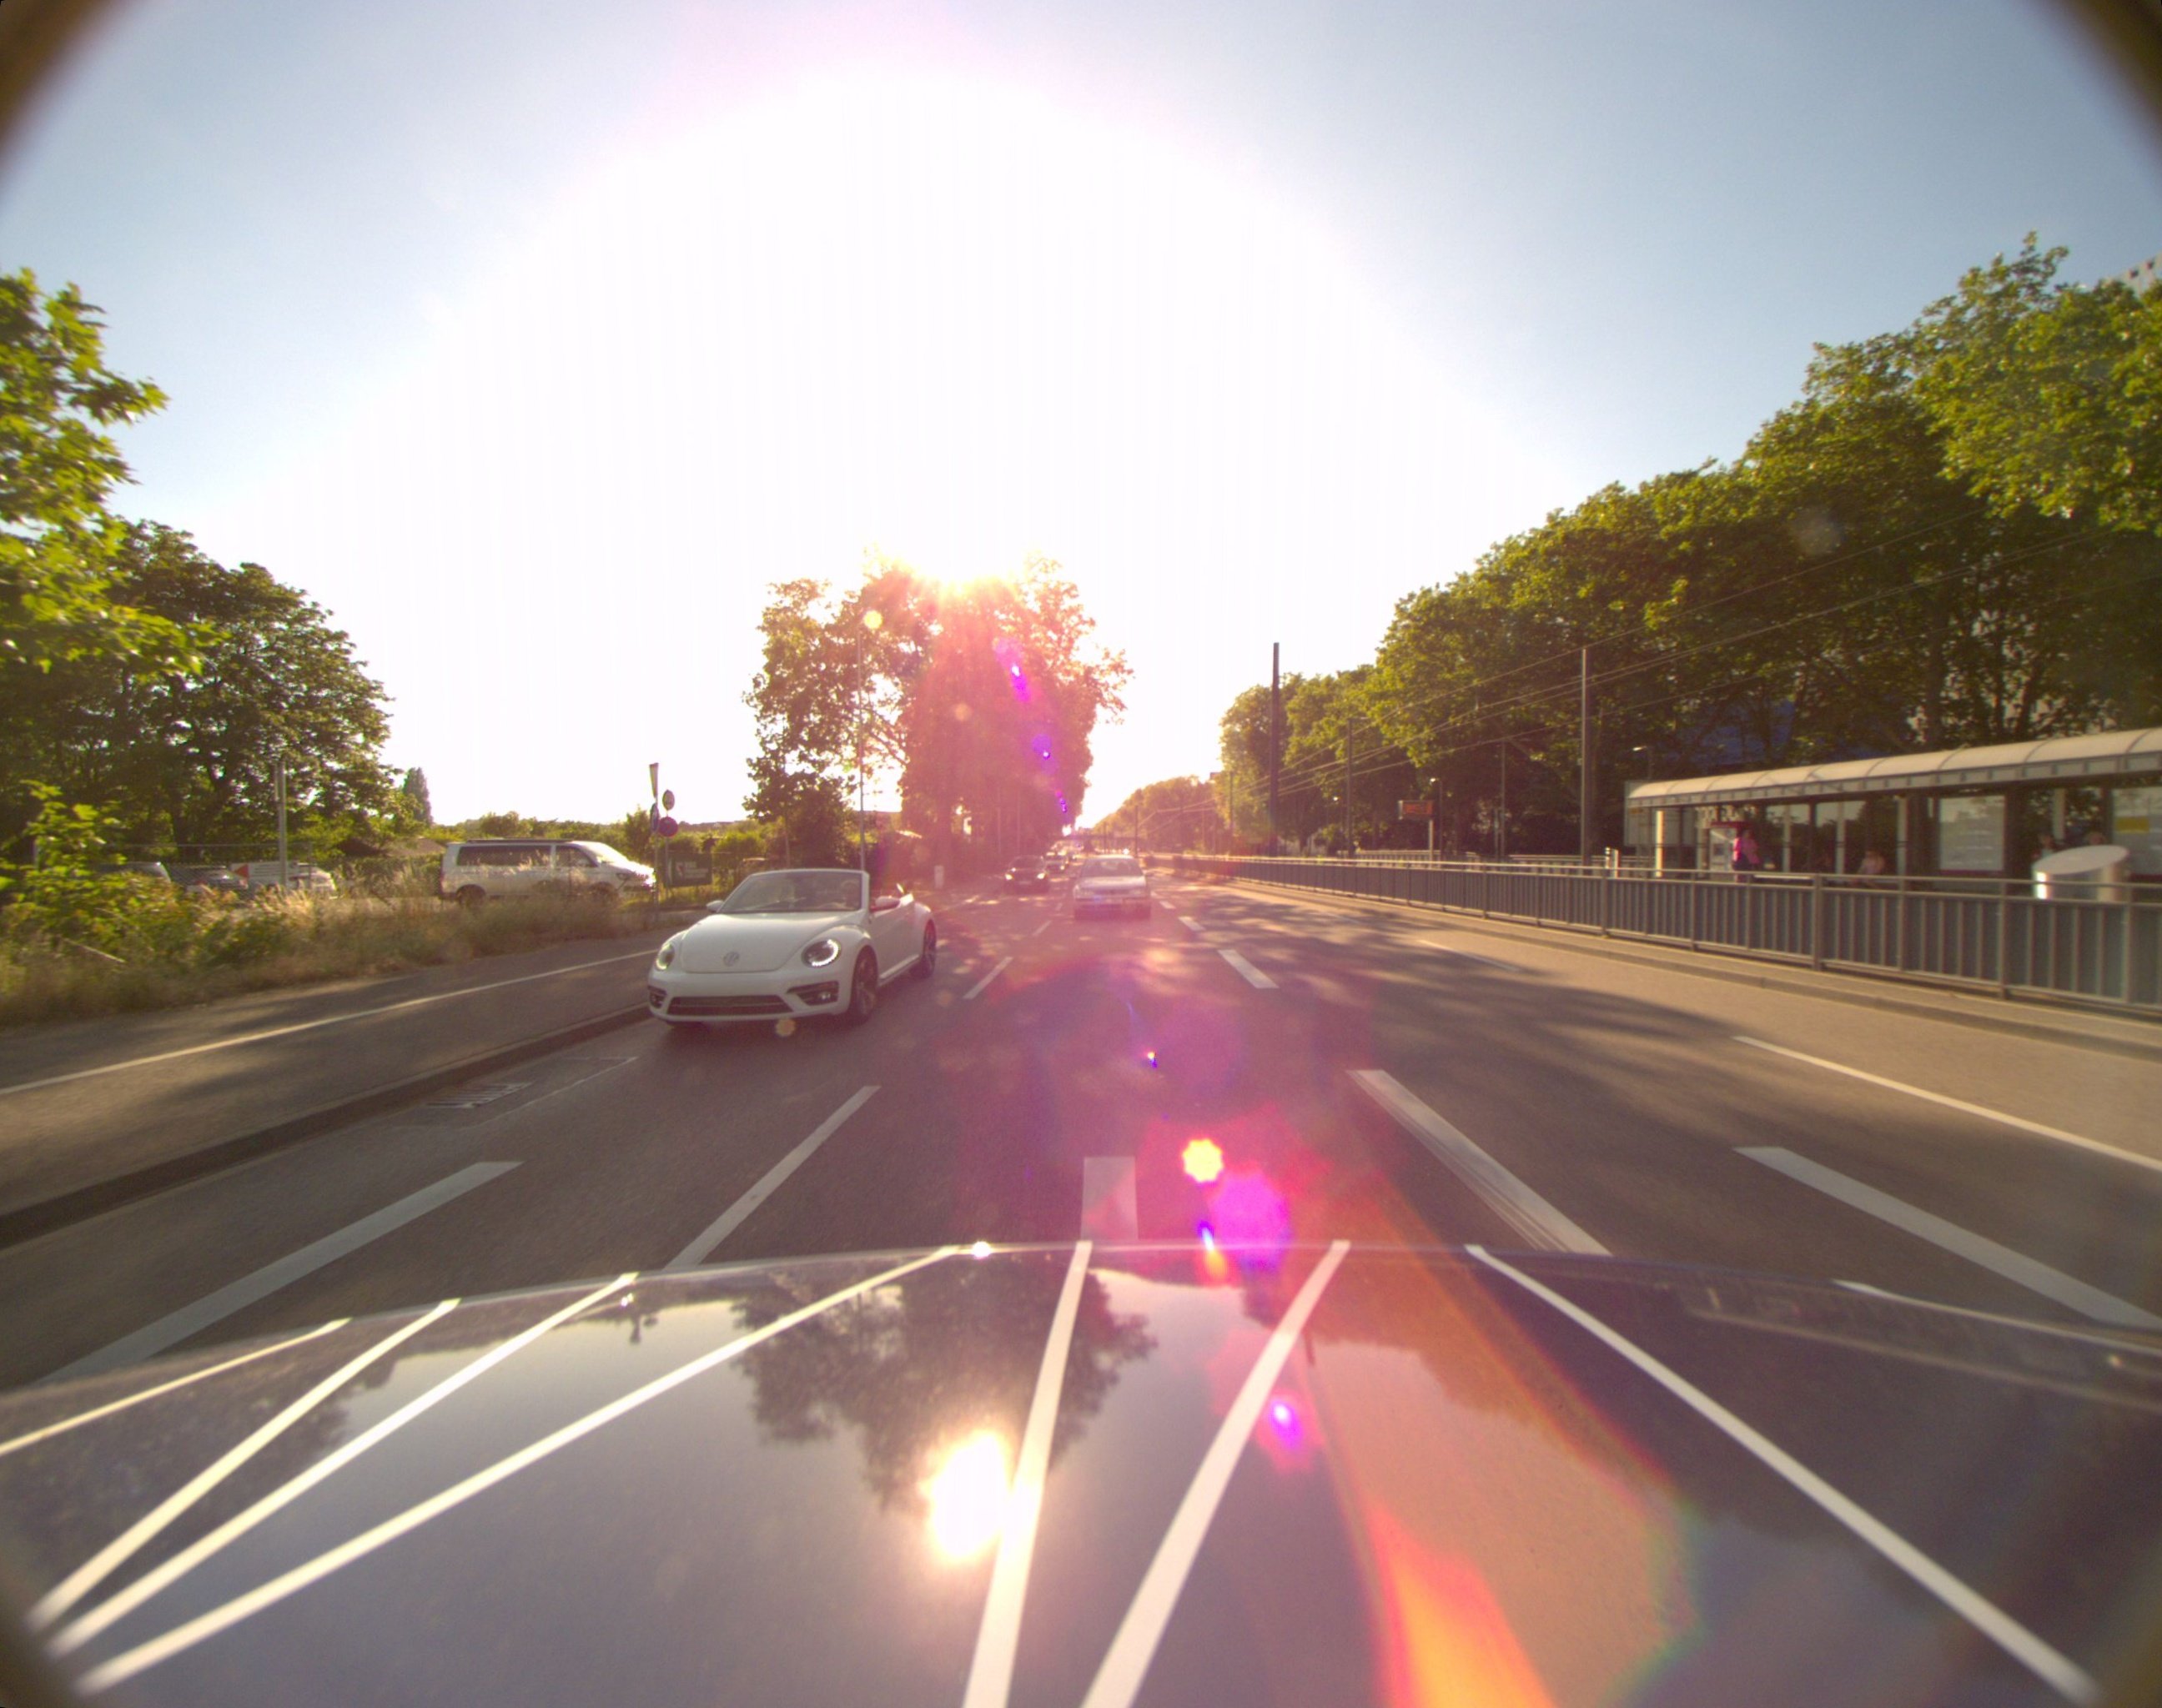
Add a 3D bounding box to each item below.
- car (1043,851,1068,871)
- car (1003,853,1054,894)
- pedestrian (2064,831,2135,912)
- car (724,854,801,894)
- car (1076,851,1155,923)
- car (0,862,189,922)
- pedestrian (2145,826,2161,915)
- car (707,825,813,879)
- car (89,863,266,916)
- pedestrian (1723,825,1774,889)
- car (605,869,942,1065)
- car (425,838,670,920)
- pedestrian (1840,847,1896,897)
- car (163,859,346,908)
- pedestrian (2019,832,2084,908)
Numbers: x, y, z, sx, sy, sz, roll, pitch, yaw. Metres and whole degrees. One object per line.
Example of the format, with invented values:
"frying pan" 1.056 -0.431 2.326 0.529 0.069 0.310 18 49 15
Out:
"car" -1.958 0.549 59.411 1.871 1.422 3.830 -3 1 -1
"car" -2.076 0.744 30.799 1.741 1.502 3.999 -2 1 0
"pedestrian" 19.033 0.312 14.204 0.671 1.483 0.576 -1 1 -15
"car" -14.303 0.858 34.365 1.999 1.638 4.154 -1 1 -5
"car" 0.714 0.694 18.082 1.603 1.440 3.798 -2 1 -1
"car" -31.224 1.179 24.009 3.875 1.631 1.664 -3 1 -3
"pedestrian" 19.206 0.286 13.251 0.576 1.568 0.488 0 1 6
"car" -16.777 -0.116 40.209 2.940 2.607 5.922 0 1 2
"car" -31.357 1.205 26.465 3.839 1.577 1.722 -3 1 -3
"pedestrian" 17.987 0.086 20.496 0.763 1.700 0.678 -1 1 -1
"car" -2.809 0.943 8.024 1.856 1.415 3.980 -1 0 1
"car" -15.118 0.665 21.821 5.352 2.010 2.103 -3 1 -4
"pedestrian" 18.879 0.425 18.238 0.679 1.156 0.624 -1 1 -4
"car" -31.630 1.091 29.201 4.662 1.560 1.858 -3 1 -5
"pedestrian" 18.997 0.309 14.878 0.616 1.460 0.544 -1 1 -10
